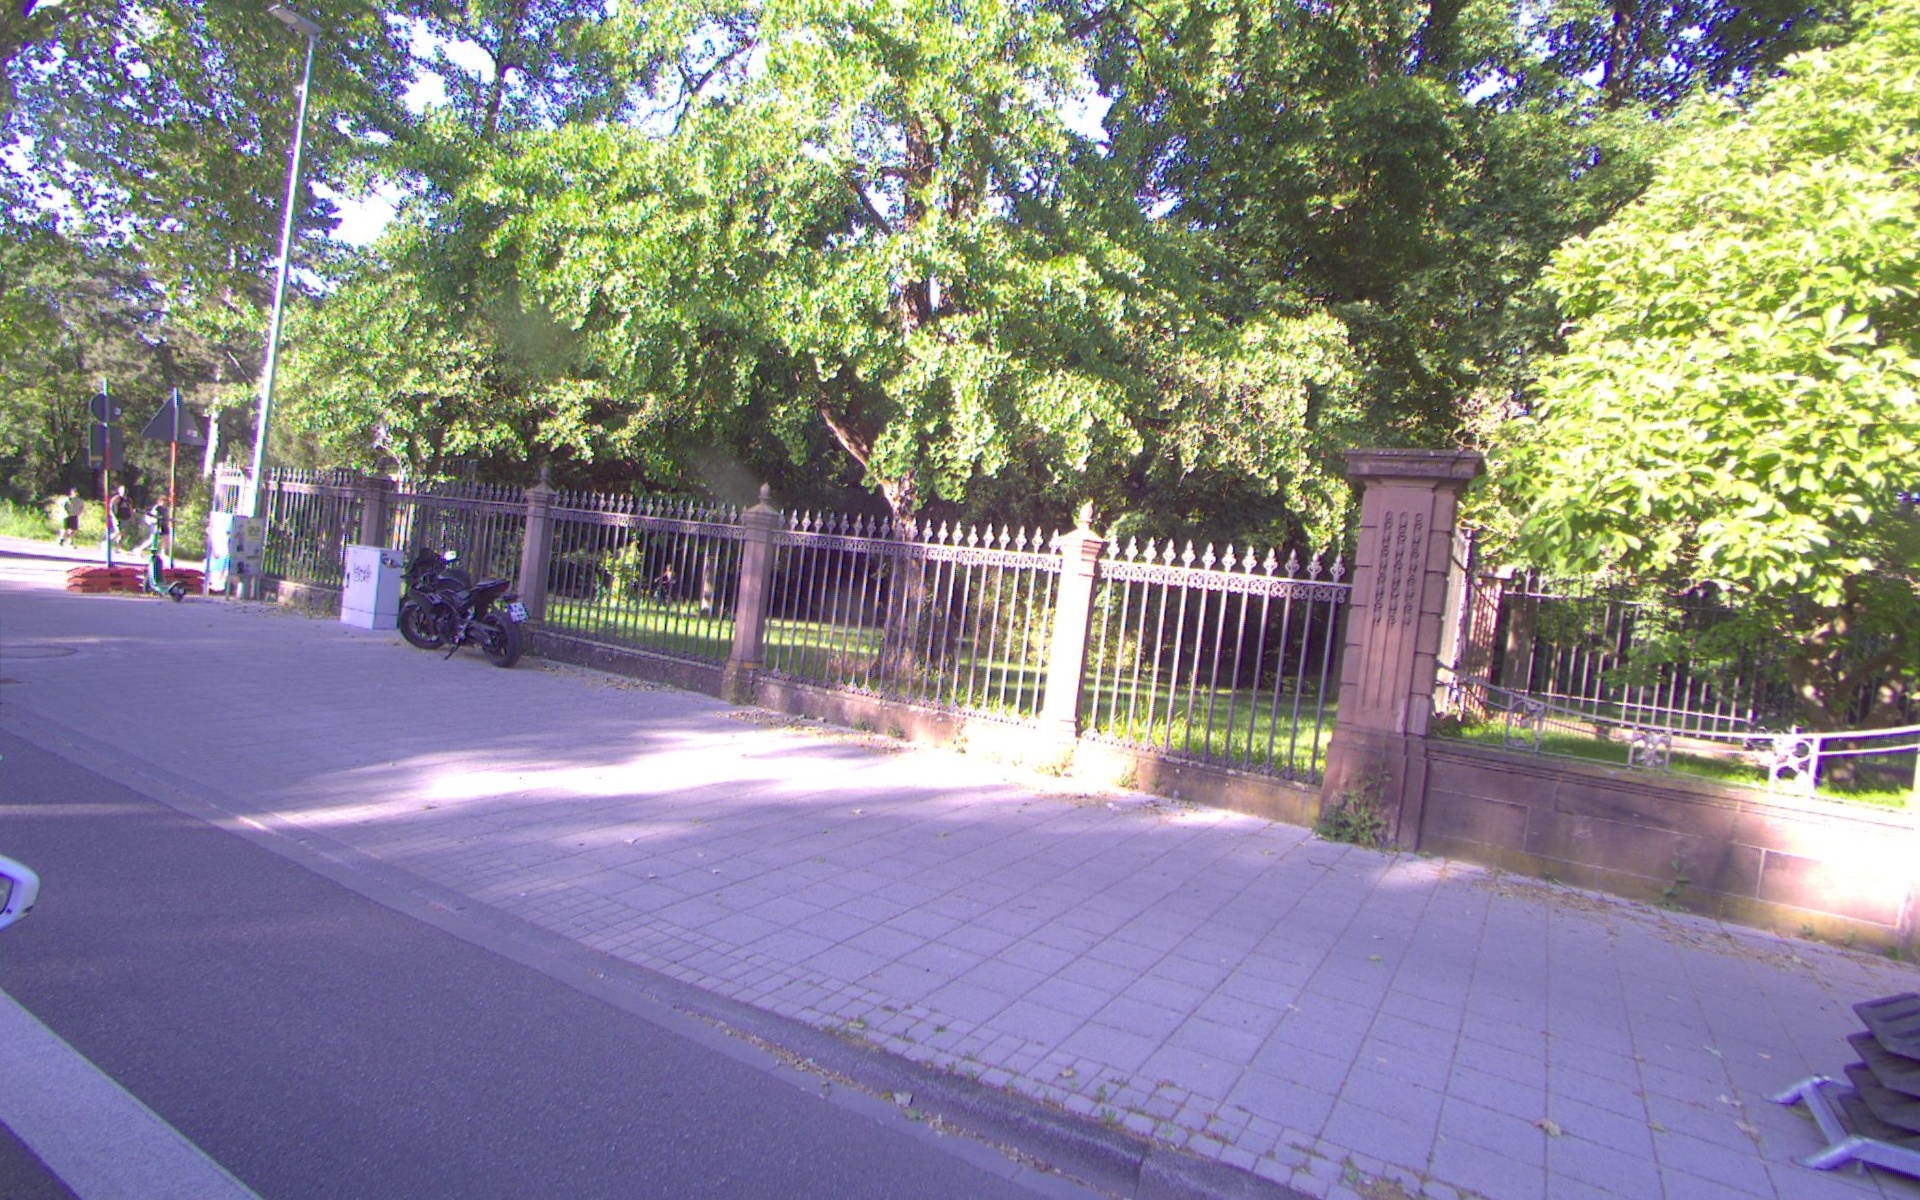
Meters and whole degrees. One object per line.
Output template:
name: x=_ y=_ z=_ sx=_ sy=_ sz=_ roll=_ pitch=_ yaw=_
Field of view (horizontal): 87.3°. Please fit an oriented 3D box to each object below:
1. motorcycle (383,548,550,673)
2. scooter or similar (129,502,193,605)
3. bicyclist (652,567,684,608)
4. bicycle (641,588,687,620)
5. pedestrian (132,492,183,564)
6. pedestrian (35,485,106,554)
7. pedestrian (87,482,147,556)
motorcycle: x=-5.506 y=0.095 z=11.172 sx=2.134 sy=1.146 sz=0.506 roll=7 pitch=2 yaw=30
scooter or similar: x=-11.408 y=-0.672 z=14.356 sx=1.152 sy=1.344 sz=0.228 roll=7 pitch=2 yaw=30
bicyclist: x=-11.050 y=-0.468 z=38.077 sx=0.655 sy=1.448 sz=0.782 roll=7 pitch=-1 yaw=35
bicycle: x=-11.170 y=0.144 z=38.002 sx=0.467 sy=1.026 sz=1.618 roll=7 pitch=-1 yaw=34
pedestrian: x=-20.461 y=-1.821 z=25.662 sx=0.632 sy=1.721 sz=0.690 roll=7 pitch=2 yaw=25
pedestrian: x=-22.343 y=-2.013 z=25.286 sx=0.899 sy=1.536 sz=0.821 roll=7 pitch=-1 yaw=7
pedestrian: x=-22.084 y=-2.120 z=26.364 sx=0.817 sy=1.794 sz=0.819 roll=7 pitch=1 yaw=25
